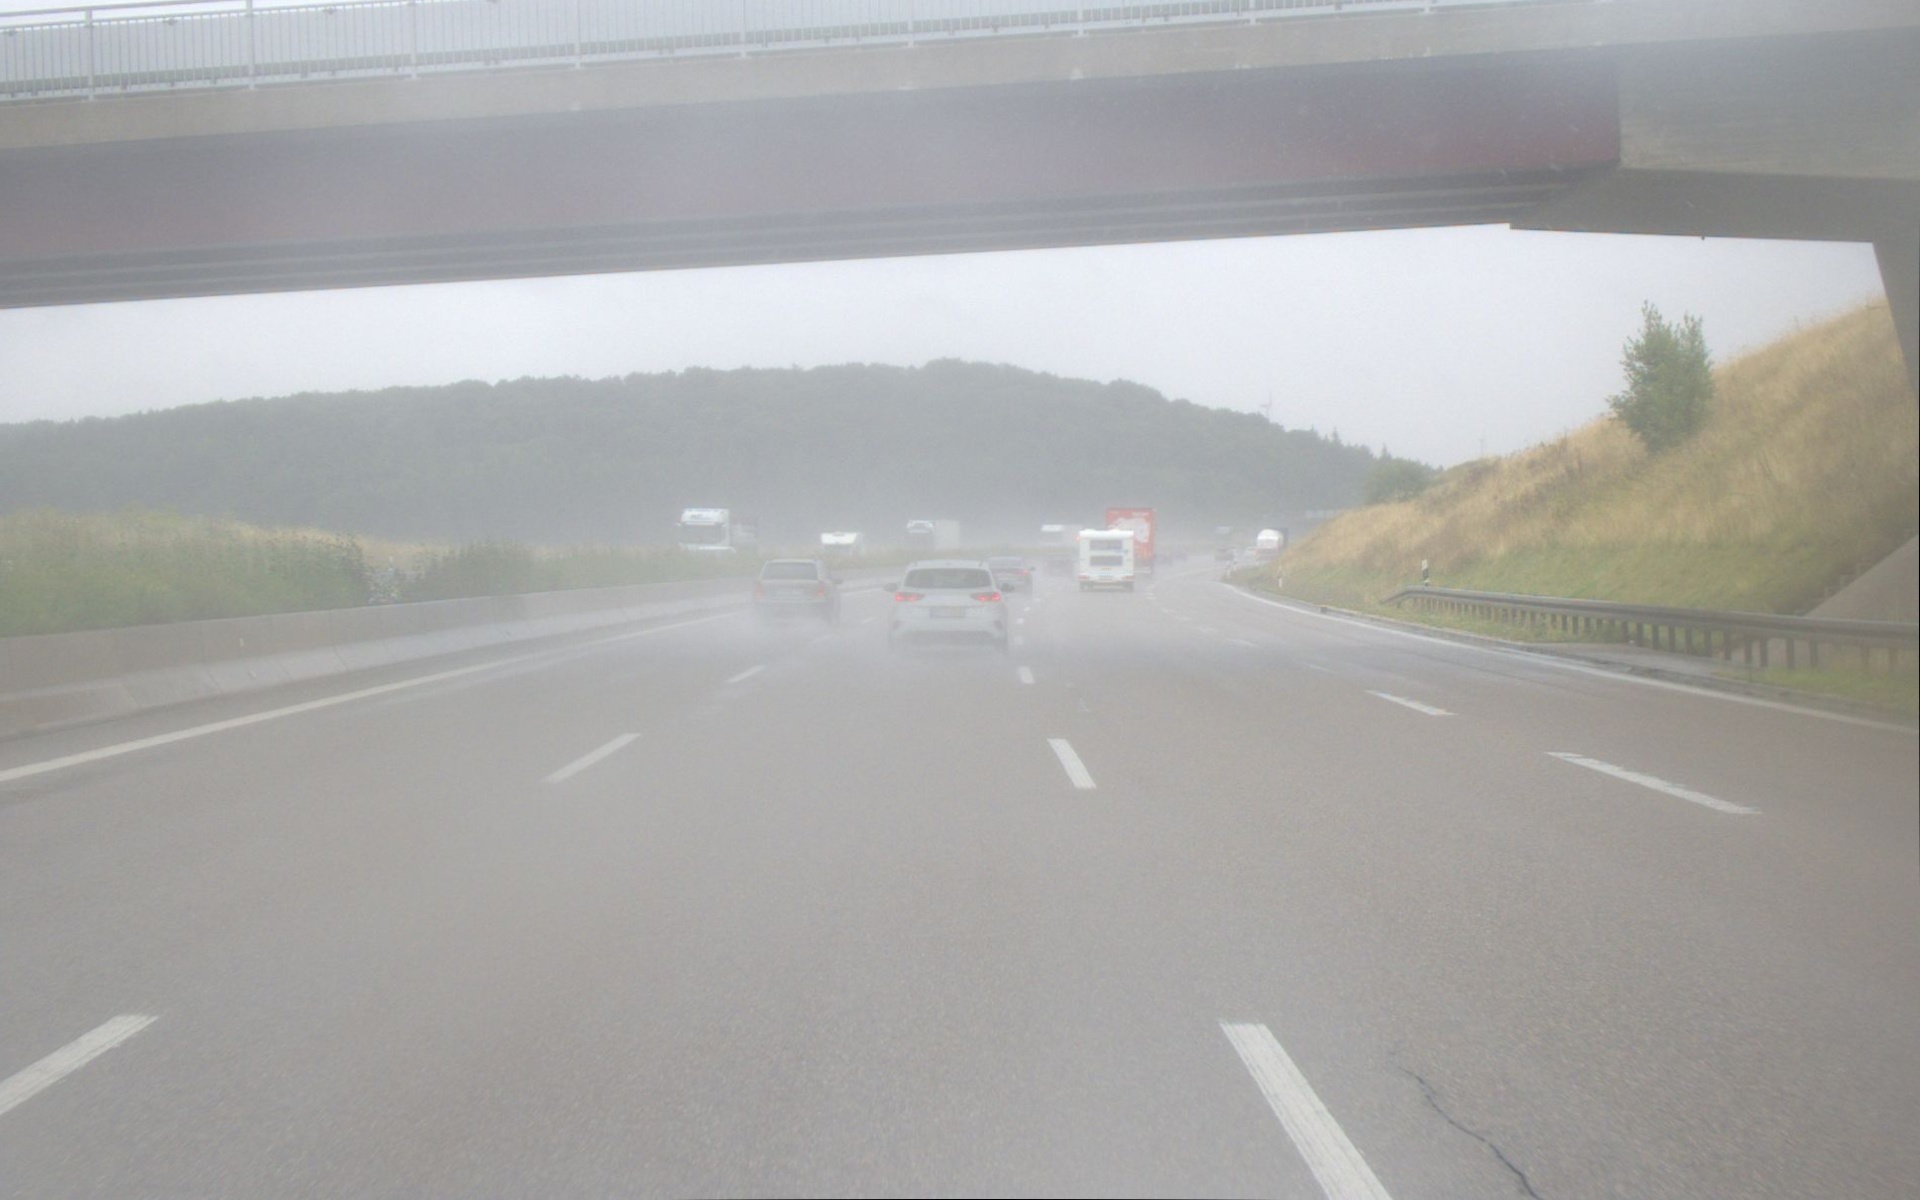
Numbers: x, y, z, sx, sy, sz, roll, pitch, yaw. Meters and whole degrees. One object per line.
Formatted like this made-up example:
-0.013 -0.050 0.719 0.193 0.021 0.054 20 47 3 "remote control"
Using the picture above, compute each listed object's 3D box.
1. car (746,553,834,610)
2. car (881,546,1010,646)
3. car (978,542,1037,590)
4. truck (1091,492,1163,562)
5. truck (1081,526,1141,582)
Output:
-3.636 -0.382 73.820 1.823 1.152 4.213 1 0 -3 "car"
-0.260 -0.061 52.488 1.867 1.458 4.000 0 0 -2 "car"
1.662 -1.187 119.351 1.993 1.612 4.000 0 1 1 "car"
9.206 -4.108 190.740 3.527 3.730 11.426 1 2 1 "truck"
6.196 -1.898 140.803 2.408 2.244 4.692 0 1 3 "truck"
